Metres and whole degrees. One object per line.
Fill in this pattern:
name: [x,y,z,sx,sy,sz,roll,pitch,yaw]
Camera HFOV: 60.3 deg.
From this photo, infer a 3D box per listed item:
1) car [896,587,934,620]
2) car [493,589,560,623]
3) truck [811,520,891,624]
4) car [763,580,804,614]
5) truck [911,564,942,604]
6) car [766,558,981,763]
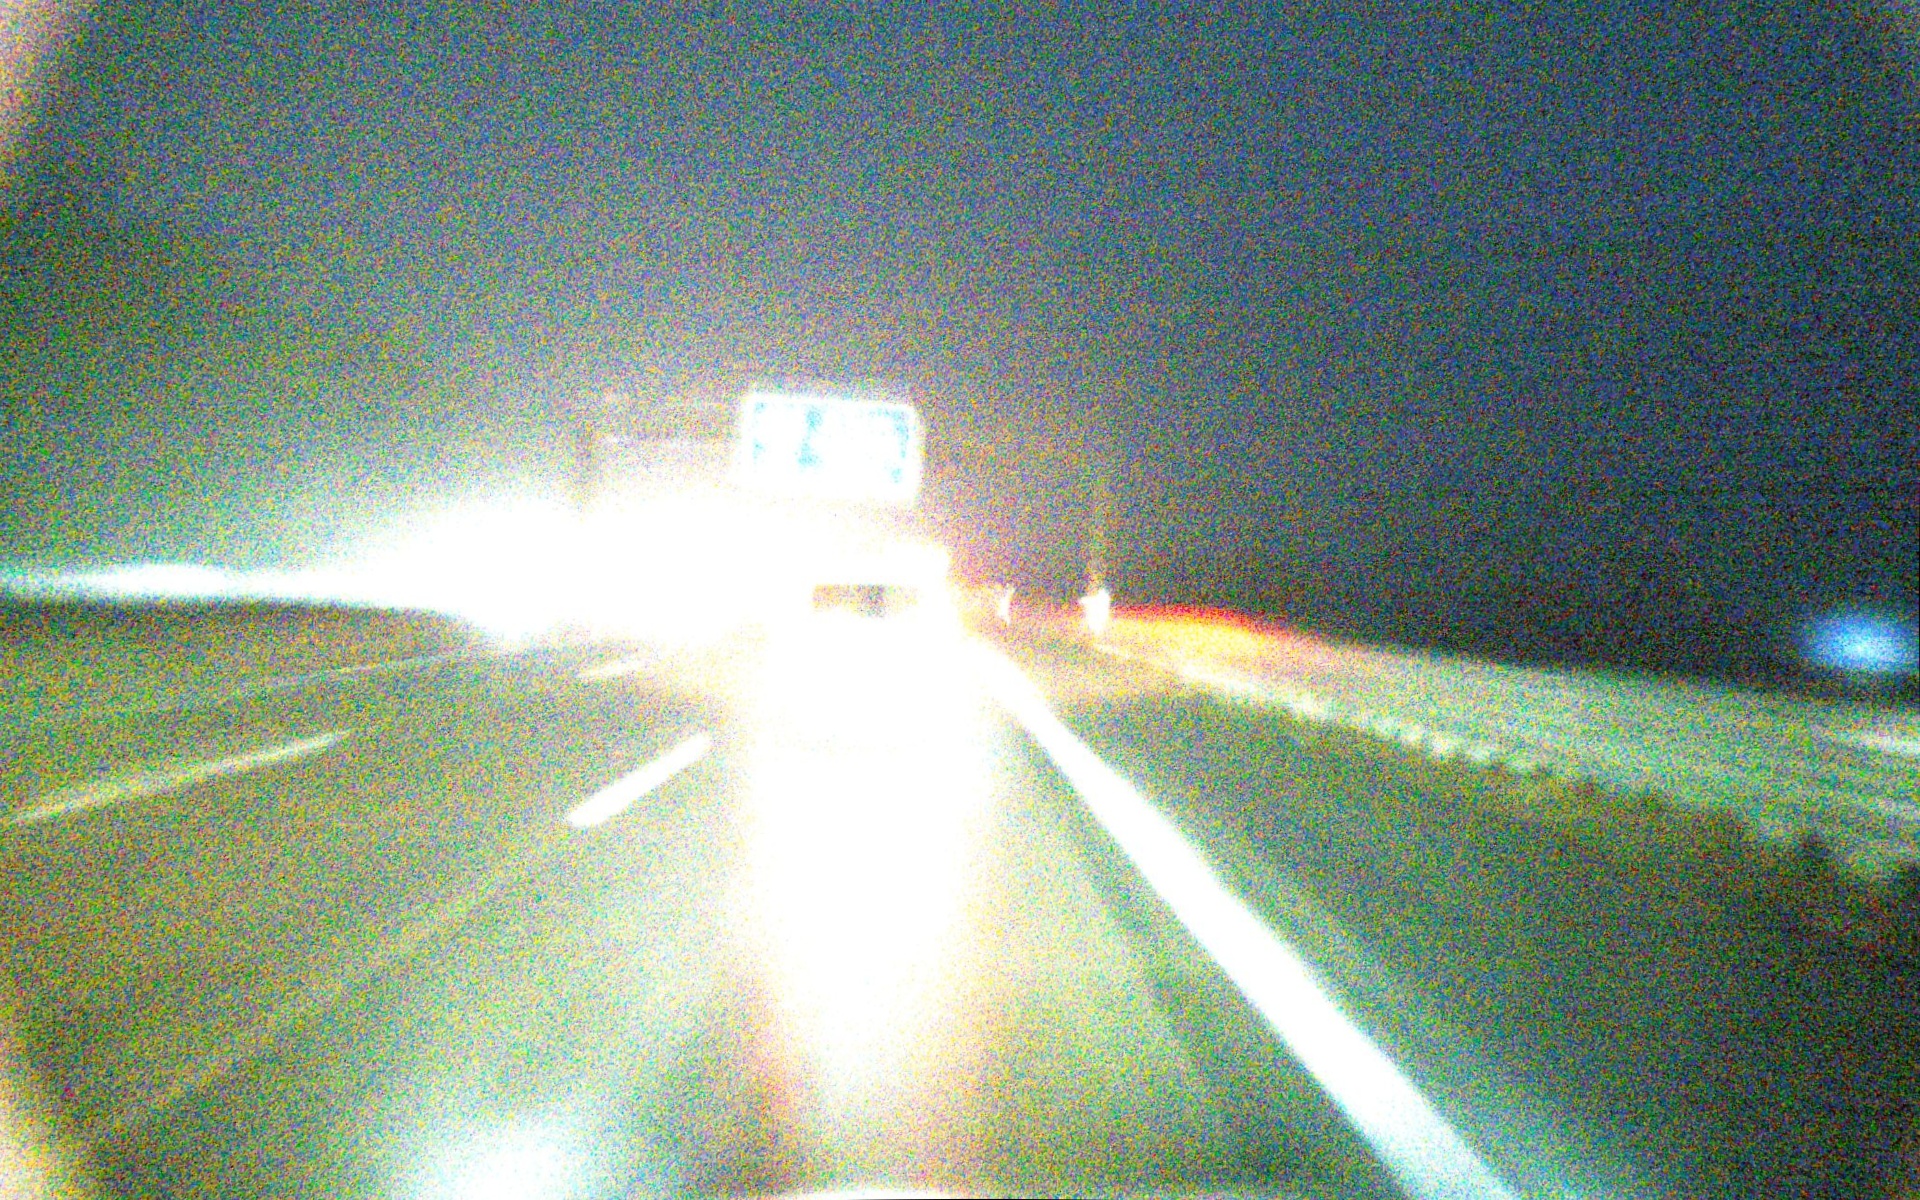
car: [-2.486,0.188,90.601,1.953,1.736,4.193,2,0,-2]
car: [-21.047,0.285,80.518,1.932,1.489,5.368,3,0,-2]
truck: [-6.290,-1.544,97.740,4.083,5.641,13.069,2,0,-2]
car: [-10.538,-0.194,99.194,1.954,1.735,4.194,7,0,-2]
truck: [-4.505,-1.999,218.316,3.747,5.001,11.601,2,0,-2]
car: [-0.863,0.555,17.756,1.914,1.823,5.122,2,0,-2]
